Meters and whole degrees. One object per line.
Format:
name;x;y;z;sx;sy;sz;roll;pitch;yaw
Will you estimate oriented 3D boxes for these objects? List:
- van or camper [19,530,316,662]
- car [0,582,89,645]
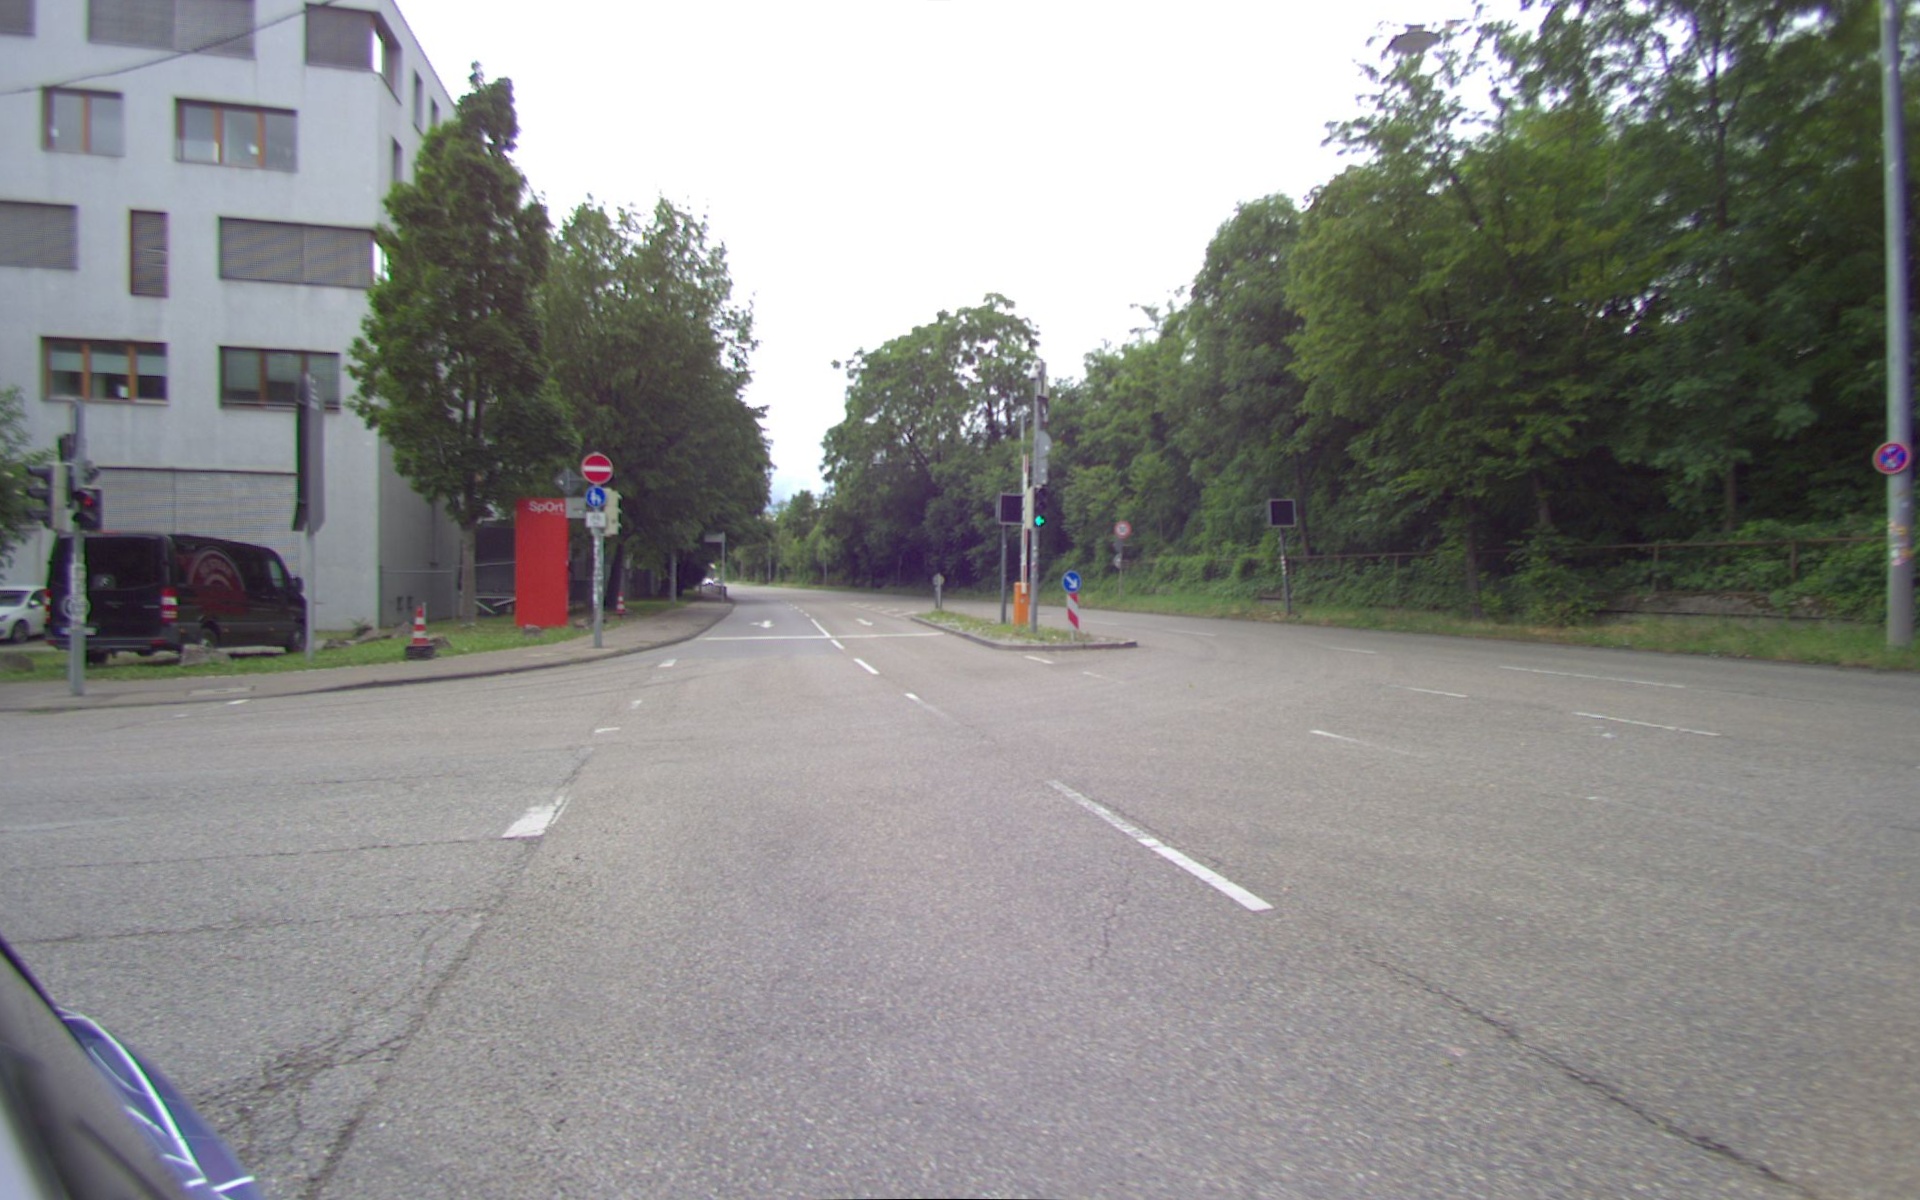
van or camper;-14.588;-0.036;19.187;2.134;2.126;5.657;-1;-1;-11
car;-26.081;0.347;27.586;1.827;1.470;4.088;-1;4;-13
